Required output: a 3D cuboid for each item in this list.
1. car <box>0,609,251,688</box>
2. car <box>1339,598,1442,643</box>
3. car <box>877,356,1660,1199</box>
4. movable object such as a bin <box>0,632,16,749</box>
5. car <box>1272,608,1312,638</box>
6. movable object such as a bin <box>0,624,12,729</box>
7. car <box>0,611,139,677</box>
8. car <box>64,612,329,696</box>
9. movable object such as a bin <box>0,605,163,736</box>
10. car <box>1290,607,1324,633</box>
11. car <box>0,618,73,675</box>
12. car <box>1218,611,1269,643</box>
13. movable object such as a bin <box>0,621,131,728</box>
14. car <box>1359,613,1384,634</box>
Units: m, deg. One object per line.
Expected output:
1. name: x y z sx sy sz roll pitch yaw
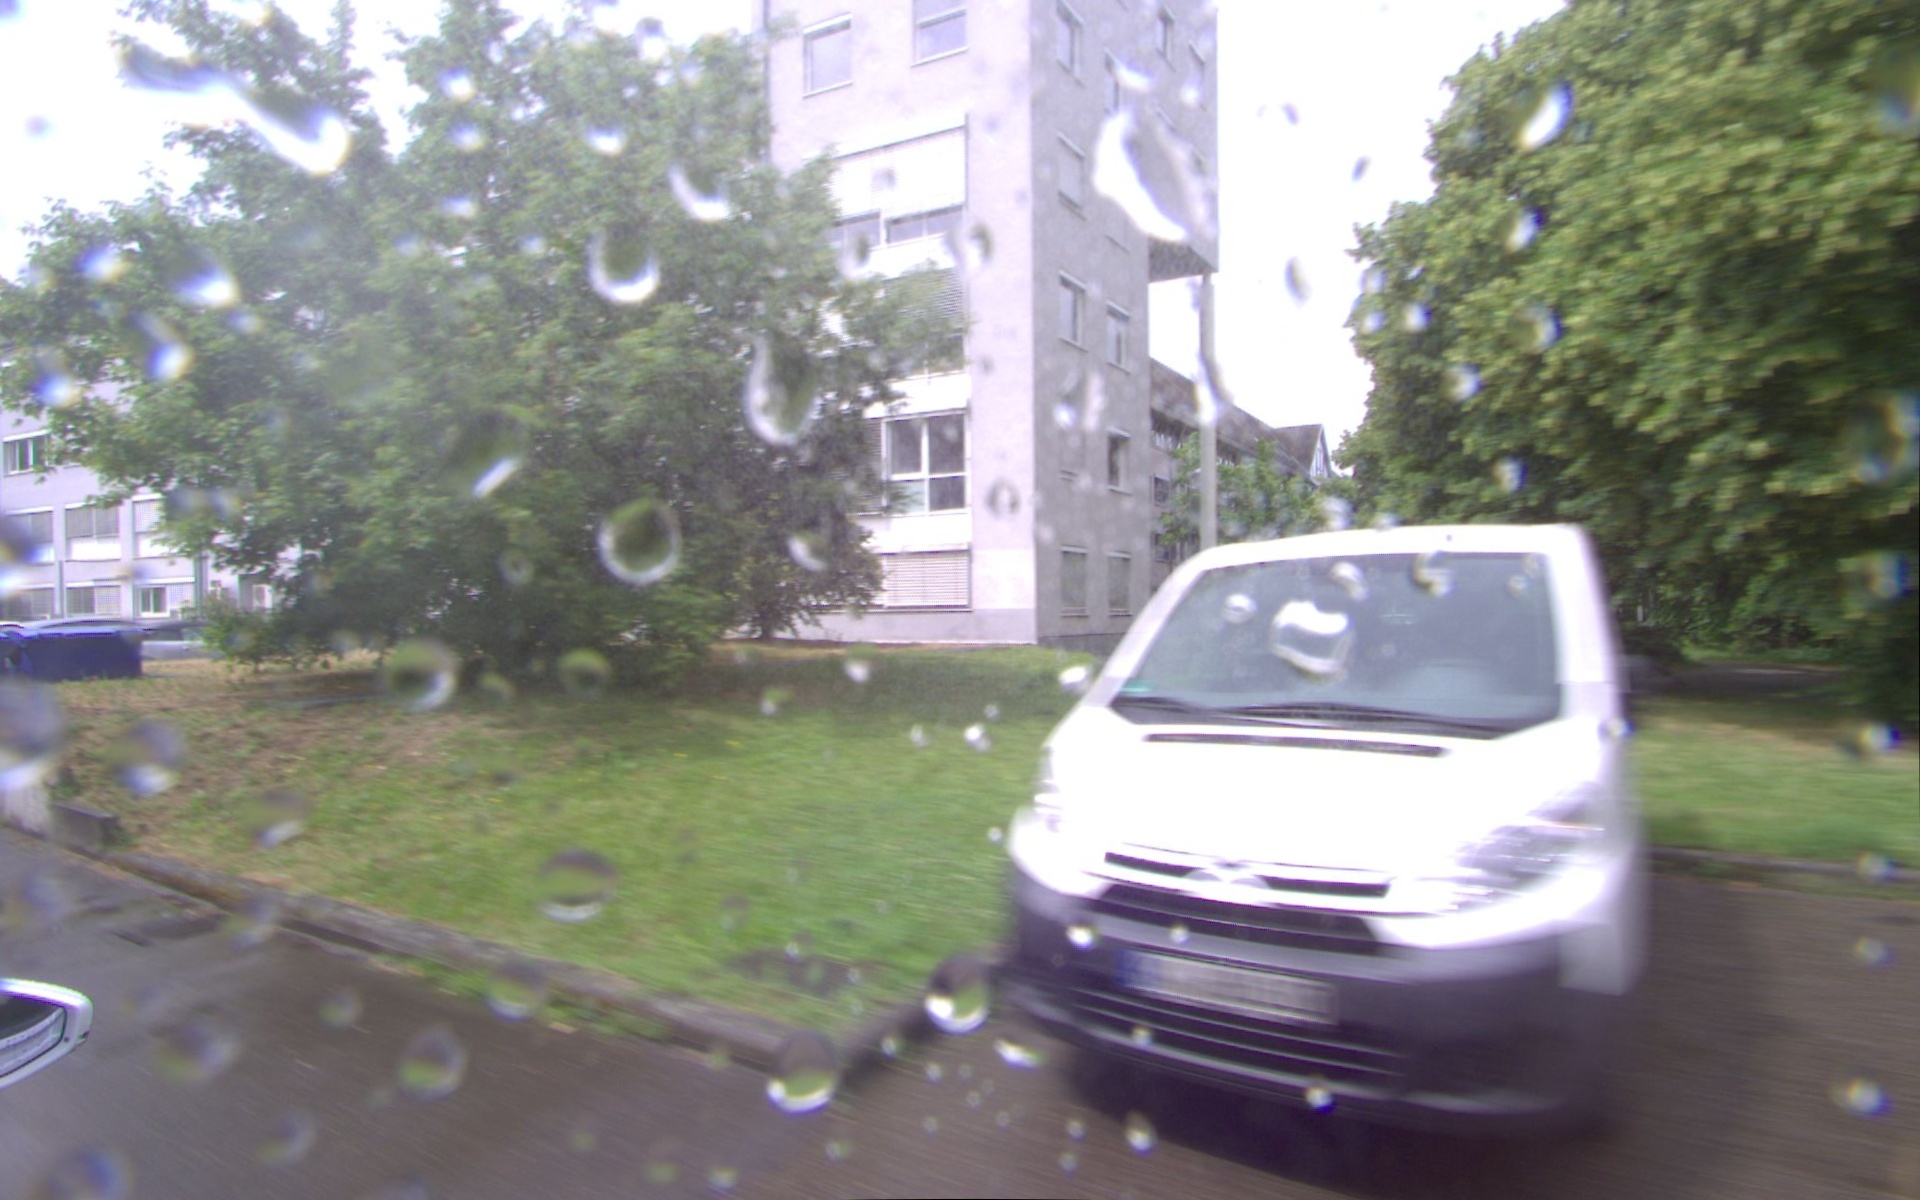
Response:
1. car: -18.375 1.005 22.143 1.643 1.477 4.075 -1 0 28
2. car: 20.866 0.985 48.613 4.316 2.040 1.990 1 0 32
3. car: 1.956 0.569 4.546 1.973 2.040 4.922 0 0 35
4. movable object such as a bin: -11.716 1.034 11.403 1.040 1.335 1.172 1 0 32
5. car: 21.292 1.487 64.111 1.899 1.837 4.131 1 -1 25
6. movable object such as a bin: -13.010 0.987 12.674 1.040 1.335 1.227 1 2 32
7. car: -22.905 1.055 24.398 1.805 1.475 4.093 0 1 28
8. car: -15.688 1.025 20.797 1.765 1.373 3.977 0 2 31
9. movable object such as a bin: -10.968 0.842 12.520 1.085 1.502 1.273 1 0 32
10. car: 25.348 1.462 72.982 1.899 1.837 4.131 1 -1 25
11. car: -26.009 1.255 25.908 1.908 1.420 4.168 -1 1 26
12. car: 15.916 1.503 56.071 1.759 1.732 3.963 1 -1 31
13. movable object such as a bin: -12.390 0.985 13.791 1.040 1.335 1.227 1 2 32
14. car: 37.809 2.118 91.997 1.899 1.837 4.131 1 -1 25
